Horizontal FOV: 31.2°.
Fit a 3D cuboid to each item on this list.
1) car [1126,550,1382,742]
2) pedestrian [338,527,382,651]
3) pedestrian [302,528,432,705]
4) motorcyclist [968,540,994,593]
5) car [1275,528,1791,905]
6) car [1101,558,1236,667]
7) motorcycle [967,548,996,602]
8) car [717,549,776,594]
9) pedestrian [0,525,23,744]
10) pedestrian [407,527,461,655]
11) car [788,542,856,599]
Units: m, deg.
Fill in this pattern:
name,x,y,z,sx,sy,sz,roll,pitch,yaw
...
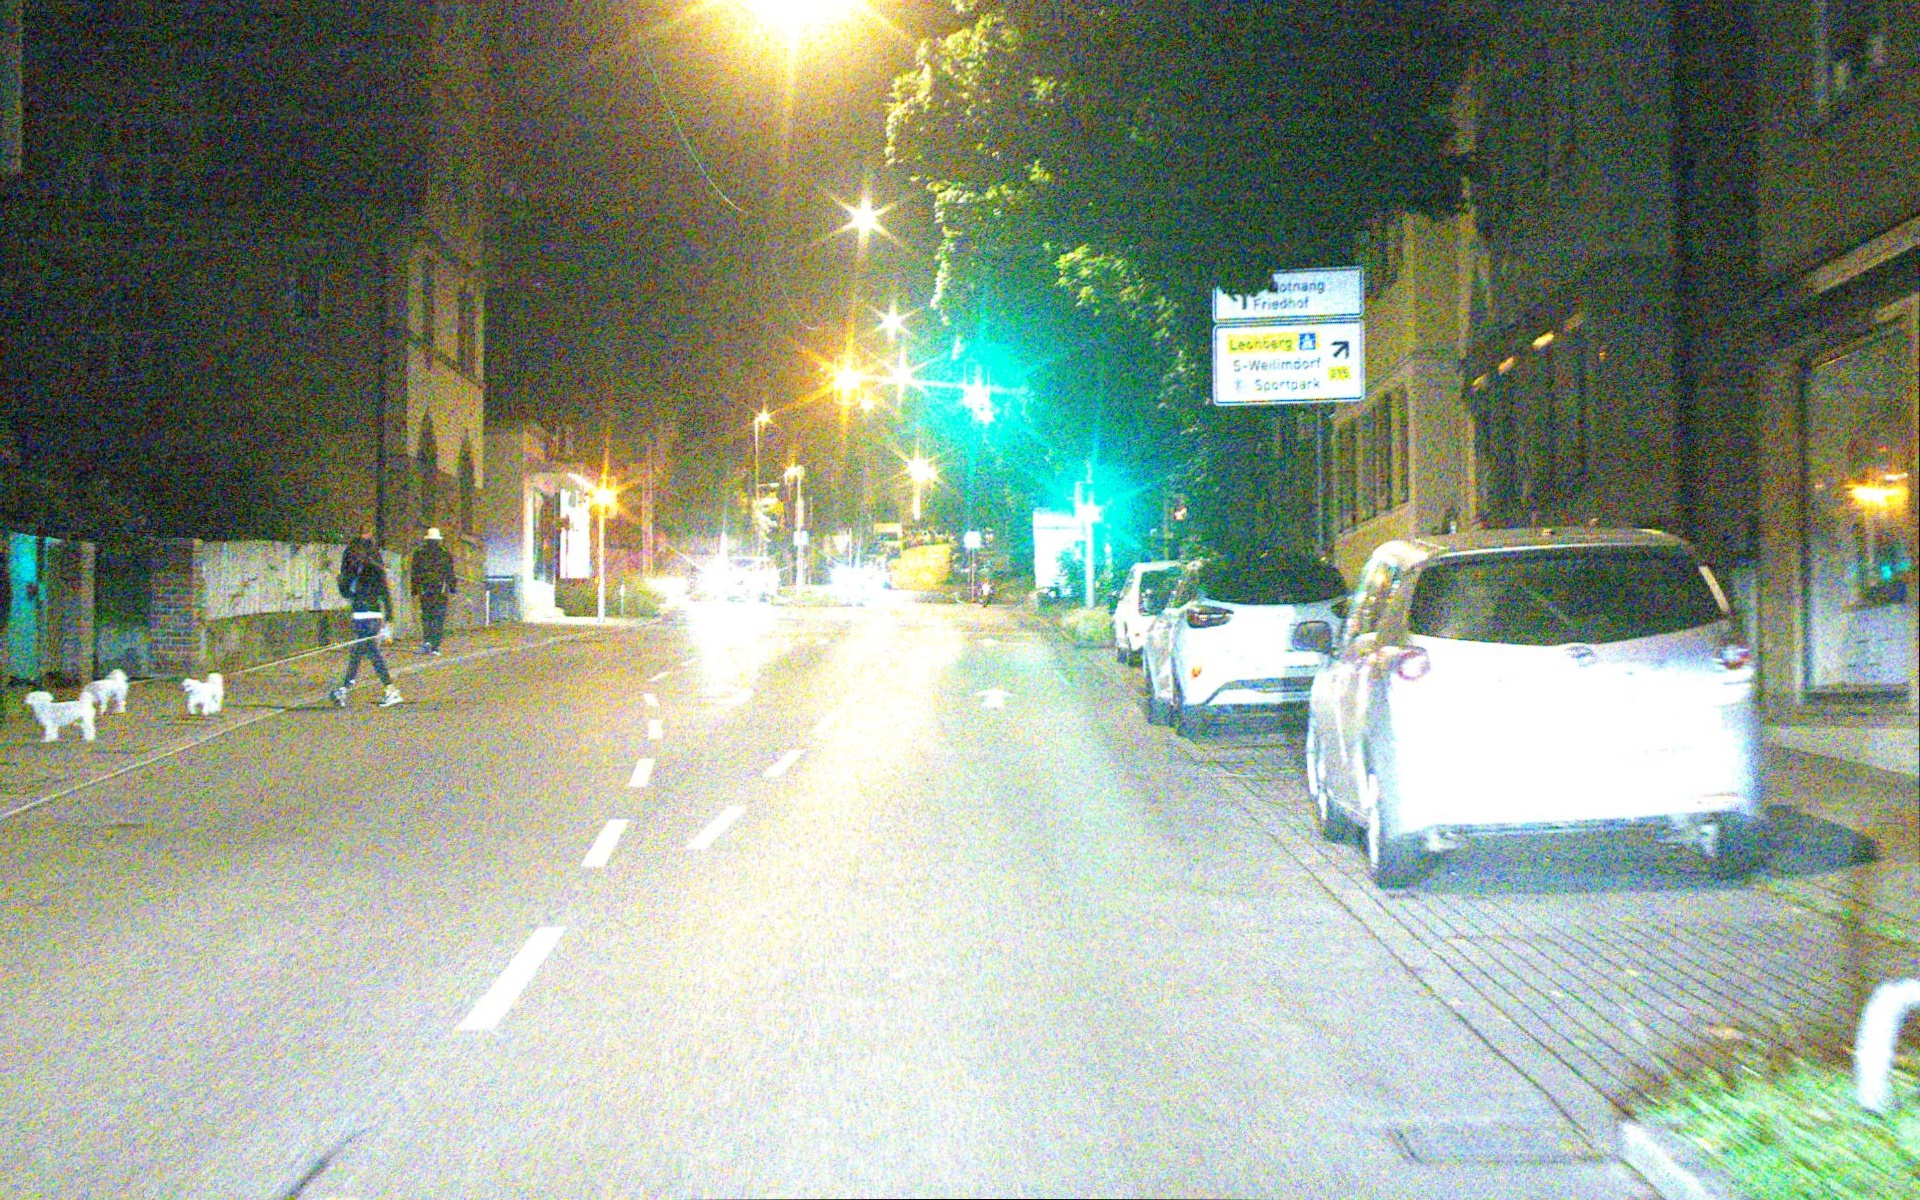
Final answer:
name,x,y,z,sx,sy,sz,roll,pitch,yaw
car,2.518,0.347,30.376,1.868,1.521,4.150,-1,1,0
pedestrian,-8.312,-0.152,47.630,0.569,1.694,0.930,1,0,-9
pedestrian,-5.864,0.160,34.008,0.766,1.694,0.925,3,1,34
motorcyclist,0.710,-1.101,114.851,0.848,1.746,0.805,1,0,0
car,2.680,0.466,17.045,1.812,1.588,4.274,-1,1,0
car,2.972,0.151,49.594,1.629,1.491,3.415,1,1,-2
motorcycle,0.708,-0.831,114.848,0.931,1.746,2.625,1,0,0
car,-7.209,-0.961,116.397,1.715,1.452,3.922,1,0,0
pedestrian,-7.675,0.262,26.883,0.580,1.694,0.531,1,0,-8
pedestrian,-7.347,-0.122,48.064,0.718,1.759,0.603,1,0,-8
car,-4.333,-0.922,108.424,1.944,1.711,4.000,1,0,0
